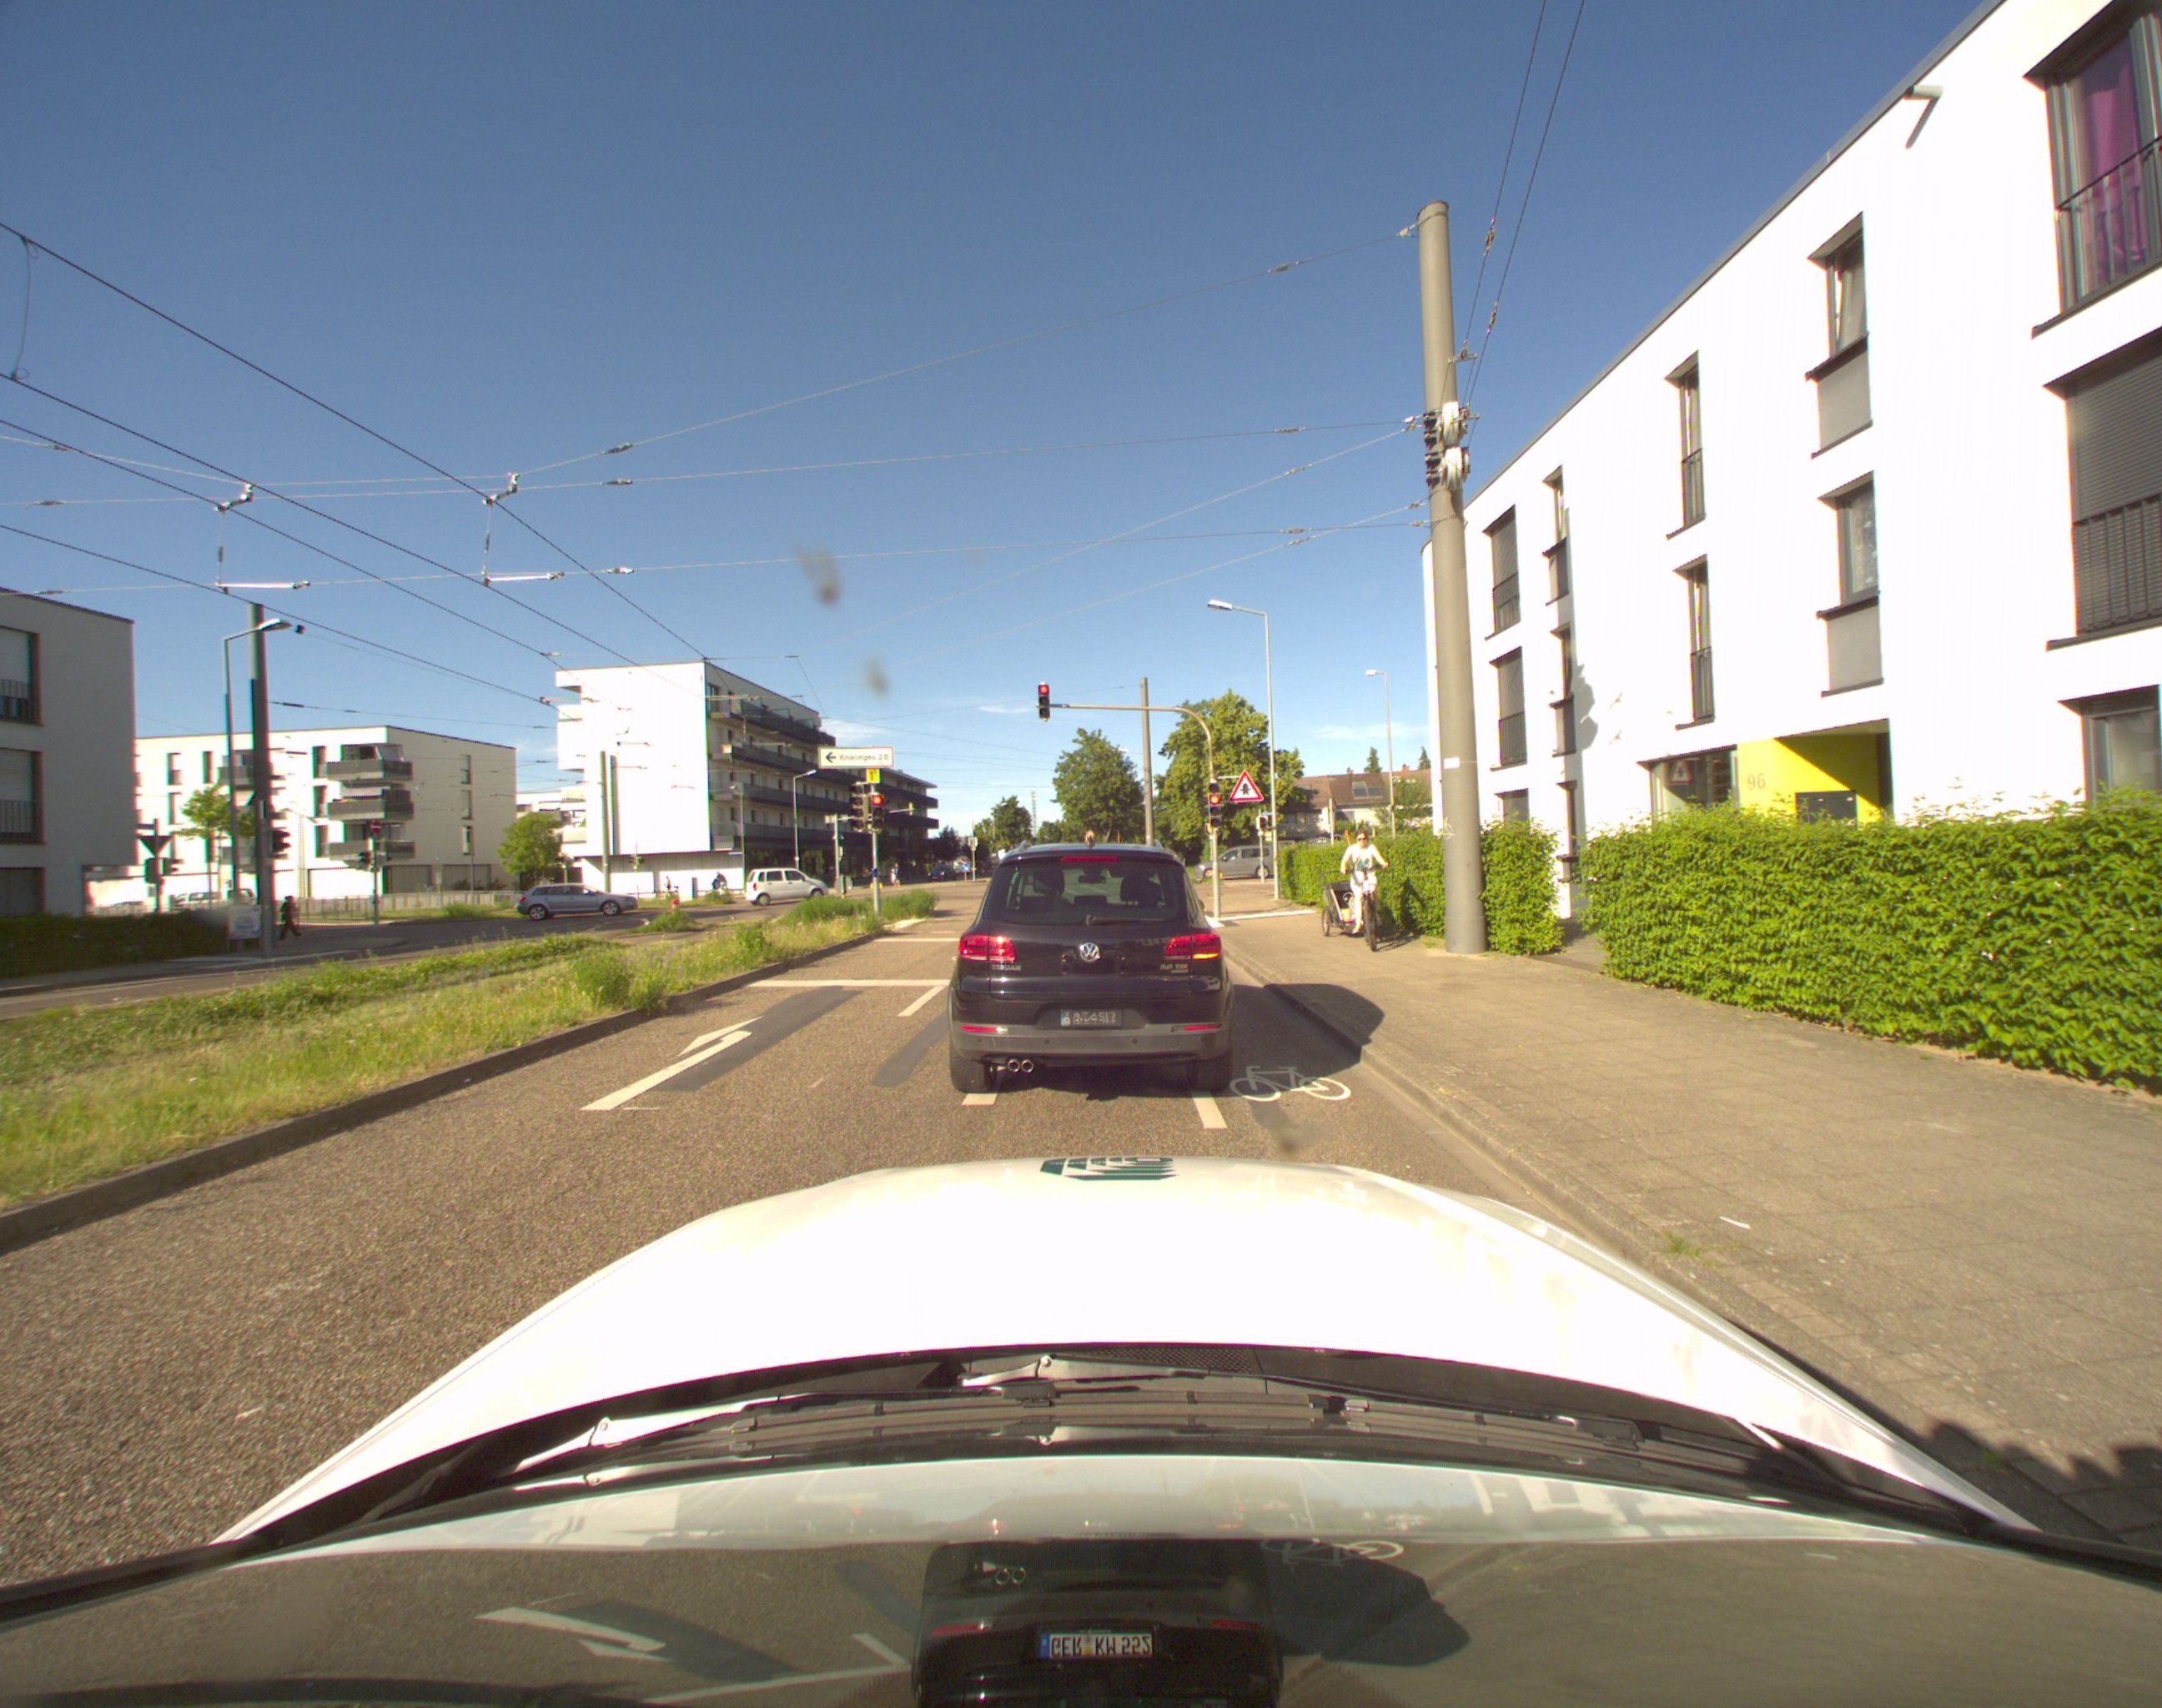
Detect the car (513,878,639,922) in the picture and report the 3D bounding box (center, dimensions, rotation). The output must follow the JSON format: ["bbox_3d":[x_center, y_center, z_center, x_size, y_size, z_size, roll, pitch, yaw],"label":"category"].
[{"bbox_3d":[-20.841,1.865,33.811,4.111,1.485,1.857,-2,0,-21],"label":"car"}]

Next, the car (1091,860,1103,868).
[{"bbox_3d":[3.388,2.067,173.566,1.981,1.574,4.350,-1,-1,9],"label":"car"}]

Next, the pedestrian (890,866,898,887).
[{"bbox_3d":[-13.676,1.615,59.544,0.440,1.503,0.517,0,-1,-4],"label":"pedestrian"}]

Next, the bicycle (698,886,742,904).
[{"bbox_3d":[-22.639,2.586,51.072,2.404,1.002,0.640,-3,-1,-4],"label":"bicycle"}]

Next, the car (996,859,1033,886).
[{"bbox_3d":[-4.232,1.183,52.551,1.986,1.684,4.001,0,-1,1],"label":"car"}]

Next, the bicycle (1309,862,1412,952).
[{"bbox_3d":[4.273,0.746,12.762,0.923,1.173,3.133,-3,0,8],"label":"bicycle"}]

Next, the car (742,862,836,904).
[{"bbox_3d":[-13.422,1.309,37.424,3.701,1.720,1.850,-2,0,-34],"label":"car"}]

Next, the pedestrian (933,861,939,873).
[{"bbox_3d":[-18.644,1.660,104.769,0.640,1.509,0.596,0,-1,2],"label":"pedestrian"}]

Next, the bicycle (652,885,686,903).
[{"bbox_3d":[-27.583,2.665,54.560,1.859,1.124,0.818,0,-1,-17],"label":"bicycle"}]

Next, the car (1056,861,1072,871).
[{"bbox_3d":[-2.822,1.992,135.826,1.981,1.574,4.350,-1,-1,9],"label":"car"}]

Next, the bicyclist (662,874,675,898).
[{"bbox_3d":[-27.649,2.133,54.557,0.640,1.614,0.781,0,-1,-16],"label":"bicyclist"}]

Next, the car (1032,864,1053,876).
[{"bbox_3d":[-5.304,2.135,112.163,1.981,1.574,4.350,-1,-1,9],"label":"car"}]

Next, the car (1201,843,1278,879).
[{"bbox_3d":[8.542,0.381,44.133,3.964,1.836,2.005,-1,-1,8],"label":"car"}]

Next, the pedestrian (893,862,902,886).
[{"bbox_3d":[-13.538,1.497,60.115,0.542,1.744,0.517,0,-1,-4],"label":"pedestrian"}]

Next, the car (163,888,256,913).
[{"bbox_3d":[-58.927,3.159,55.107,4.305,1.574,2.002,0,-1,4],"label":"car"}]

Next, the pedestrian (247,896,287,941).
[{"bbox_3d":[-30.323,2.396,30.340,0.772,1.605,0.739,0,-1,-14],"label":"pedestrian"}]

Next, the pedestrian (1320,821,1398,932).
[{"bbox_3d":[4.199,0.336,12.354,0.905,1.594,0.856,-3,-1,8],"label":"pedestrian"}]

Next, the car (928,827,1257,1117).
[{"bbox_3d":[0.127,0.690,6.636,1.862,1.637,4.001,0,-1,2],"label":"car"}]

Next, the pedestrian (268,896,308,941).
[{"bbox_3d":[-29.562,2.391,30.358,0.772,1.605,0.739,0,-1,-14],"label":"pedestrian"}]

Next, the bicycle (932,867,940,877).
[{"bbox_3d":[-18.644,2.286,104.738,0.628,1.332,1.914,0,-1,2],"label":"bicycle"}]

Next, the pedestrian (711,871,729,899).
[{"bbox_3d":[-22.659,1.963,51.071,0.811,1.692,0.620,-3,-1,-4],"label":"pedestrian"}]

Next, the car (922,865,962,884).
[{"bbox_3d":[-12.325,1.774,72.428,1.980,1.574,4.353,-1,-1,11],"label":"car"}]
